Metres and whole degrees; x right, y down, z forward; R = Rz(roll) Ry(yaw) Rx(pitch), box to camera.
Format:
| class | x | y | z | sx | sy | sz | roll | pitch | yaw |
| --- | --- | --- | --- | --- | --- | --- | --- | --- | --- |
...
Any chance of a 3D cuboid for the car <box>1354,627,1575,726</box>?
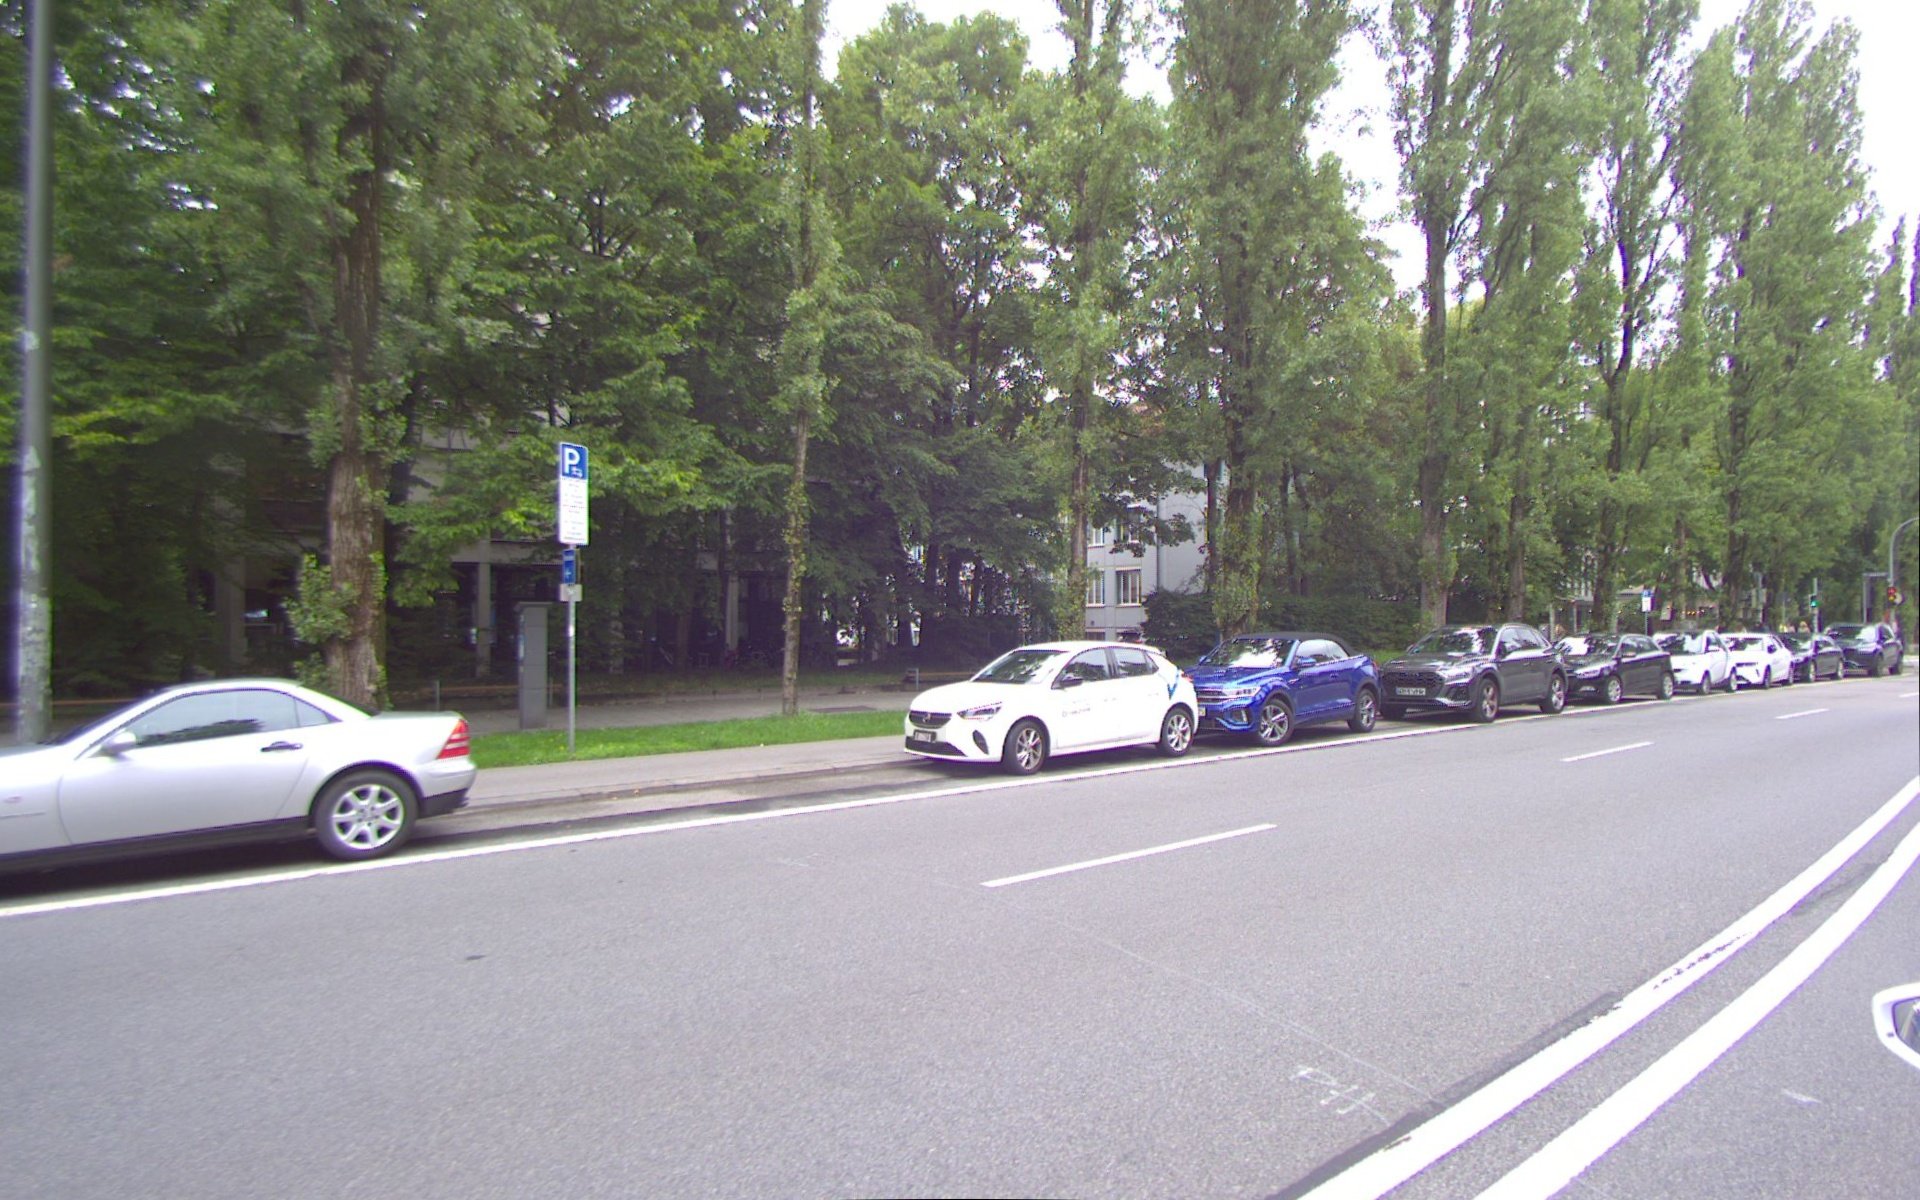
| class | x | y | z | sx | sy | sz | roll | pitch | yaw |
| --- | --- | --- | --- | --- | --- | --- | --- | --- | --- |
| car | 9.042 | 1.306 | 17.894 | 4.299 | 1.568 | 1.778 | 1 | -4 | -37 |

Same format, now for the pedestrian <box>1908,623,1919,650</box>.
| class | x | y | z | sx | sy | sz | roll | pitch | yaw |
| --- | --- | --- | --- | --- | --- | --- | --- | --- | --- |
| pedestrian | 72.690 | 2.736 | 76.328 | 0.771 | 2.040 | 0.823 | 1 | -1 | -39 |

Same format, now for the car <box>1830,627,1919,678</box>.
| class | x | y | z | sx | sy | sz | roll | pitch | yaw |
| --- | --- | --- | --- | --- | --- | --- | --- | --- | --- |
| car | 30.330 | 1.690 | 33.057 | 3.961 | 1.572 | 1.696 | 1 | -2 | -36 |

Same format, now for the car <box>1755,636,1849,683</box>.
| class | x | y | z | sx | sy | sz | roll | pitch | yaw |
| --- | --- | --- | --- | --- | --- | --- | --- | --- | --- |
| car | 25.420 | 1.748 | 30.290 | 3.811 | 1.290 | 1.280 | 1 | -1 | -36 |

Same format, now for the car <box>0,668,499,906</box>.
| class | x | y | z | sx | sy | sz | roll | pitch | yaw |
| --- | --- | --- | --- | --- | --- | --- | --- | --- | --- |
| car | -5.527 | 1.195 | 7.024 | 3.989 | 1.321 | 1.570 | 1 | -3 | -36 |

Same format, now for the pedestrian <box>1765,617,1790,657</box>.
| class | x | y | z | sx | sy | sz | roll | pitch | yaw |
| --- | --- | --- | --- | --- | --- | --- | --- | --- | --- |
| pedestrian | 36.742 | 1.649 | 45.140 | 0.802 | 1.759 | 0.697 | 1 | -1 | -37 |

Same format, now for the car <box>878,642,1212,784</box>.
| class | x | y | z | sx | sy | sz | roll | pitch | yaw |
| --- | --- | --- | --- | --- | --- | --- | --- | --- | --- |
| car | 1.124 | 1.252 | 12.258 | 3.968 | 1.431 | 1.673 | 1 | -3 | -37 |

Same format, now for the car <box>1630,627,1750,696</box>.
| class | x | y | z | sx | sy | sz | roll | pitch | yaw |
| --- | --- | --- | --- | --- | --- | --- | --- | --- | --- |
| car | 17.971 | 1.457 | 24.699 | 3.410 | 1.572 | 1.400 | 1 | -2 | -36 |

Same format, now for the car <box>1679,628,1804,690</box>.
| class | x | y | z | sx | sy | sz | roll | pitch | yaw |
| --- | --- | --- | --- | --- | --- | --- | --- | --- | --- |
| car | 21.037 | 1.533 | 26.992 | 3.963 | 1.568 | 1.696 | 1 | -2 | -37 |

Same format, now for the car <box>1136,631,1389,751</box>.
| class | x | y | z | sx | sy | sz | roll | pitch | yaw |
| --- | --- | --- | --- | --- | --- | --- | --- | --- | --- |
| car | 4.599 | 1.257 | 14.964 | 4.087 | 1.538 | 1.728 | 1 | -3 | -42 |

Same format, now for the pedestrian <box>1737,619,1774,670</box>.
| class | x | y | z | sx | sy | sz | roll | pitch | yaw |
| --- | --- | --- | --- | --- | --- | --- | --- | --- | --- |
| pedestrian | 28.281 | 1.567 | 35.703 | 1.071 | 1.787 | 0.815 | 1 | -1 | -38 |

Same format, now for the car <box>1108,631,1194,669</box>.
| class | x | y | z | sx | sy | sz | roll | pitch | yaw |
| --- | --- | --- | --- | --- | --- | --- | --- | --- | --- |
| car | 9.151 | 2.352 | 48.046 | 4.238 | 1.706 | 1.974 | 1 | -2 | -44 |

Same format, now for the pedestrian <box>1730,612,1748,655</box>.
| class | x | y | z | sx | sy | sz | roll | pitch | yaw |
| --- | --- | --- | --- | --- | --- | --- | --- | --- | --- |
| pedestrian | 36.661 | 1.571 | 47.250 | 0.596 | 2.040 | 0.498 | 1 | -1 | -37 |

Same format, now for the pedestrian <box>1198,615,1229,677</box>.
| class | x | y | z | sx | sy | sz | roll | pitch | yaw |
| --- | --- | --- | --- | --- | --- | --- | --- | --- | --- |
| pedestrian | 7.294 | 1.315 | 28.853 | 0.634 | 1.762 | 0.595 | 1 | -1 | -36 |

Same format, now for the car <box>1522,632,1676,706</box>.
| class | x | y | z | sx | sy | sz | roll | pitch | yaw |
| --- | --- | --- | --- | --- | --- | --- | --- | --- | --- |
| car | 13.854 | 1.458 | 21.702 | 3.834 | 1.452 | 1.529 | 1 | -5 | -37 |

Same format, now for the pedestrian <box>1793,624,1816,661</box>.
| class | x | y | z | sx | sy | sz | roll | pitch | yaw |
| --- | --- | --- | --- | --- | --- | --- | --- | --- | --- |
| pedestrian | 46.058 | 2.306 | 54.788 | 0.771 | 2.040 | 0.824 | 1 | -1 | -38 |

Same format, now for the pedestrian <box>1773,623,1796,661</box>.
| class | x | y | z | sx | sy | sz | roll | pitch | yaw |
| --- | --- | --- | --- | --- | --- | --- | --- | --- | --- |
| pedestrian | 45.554 | 2.312 | 55.477 | 0.771 | 2.040 | 0.824 | 1 | -1 | -38 |
